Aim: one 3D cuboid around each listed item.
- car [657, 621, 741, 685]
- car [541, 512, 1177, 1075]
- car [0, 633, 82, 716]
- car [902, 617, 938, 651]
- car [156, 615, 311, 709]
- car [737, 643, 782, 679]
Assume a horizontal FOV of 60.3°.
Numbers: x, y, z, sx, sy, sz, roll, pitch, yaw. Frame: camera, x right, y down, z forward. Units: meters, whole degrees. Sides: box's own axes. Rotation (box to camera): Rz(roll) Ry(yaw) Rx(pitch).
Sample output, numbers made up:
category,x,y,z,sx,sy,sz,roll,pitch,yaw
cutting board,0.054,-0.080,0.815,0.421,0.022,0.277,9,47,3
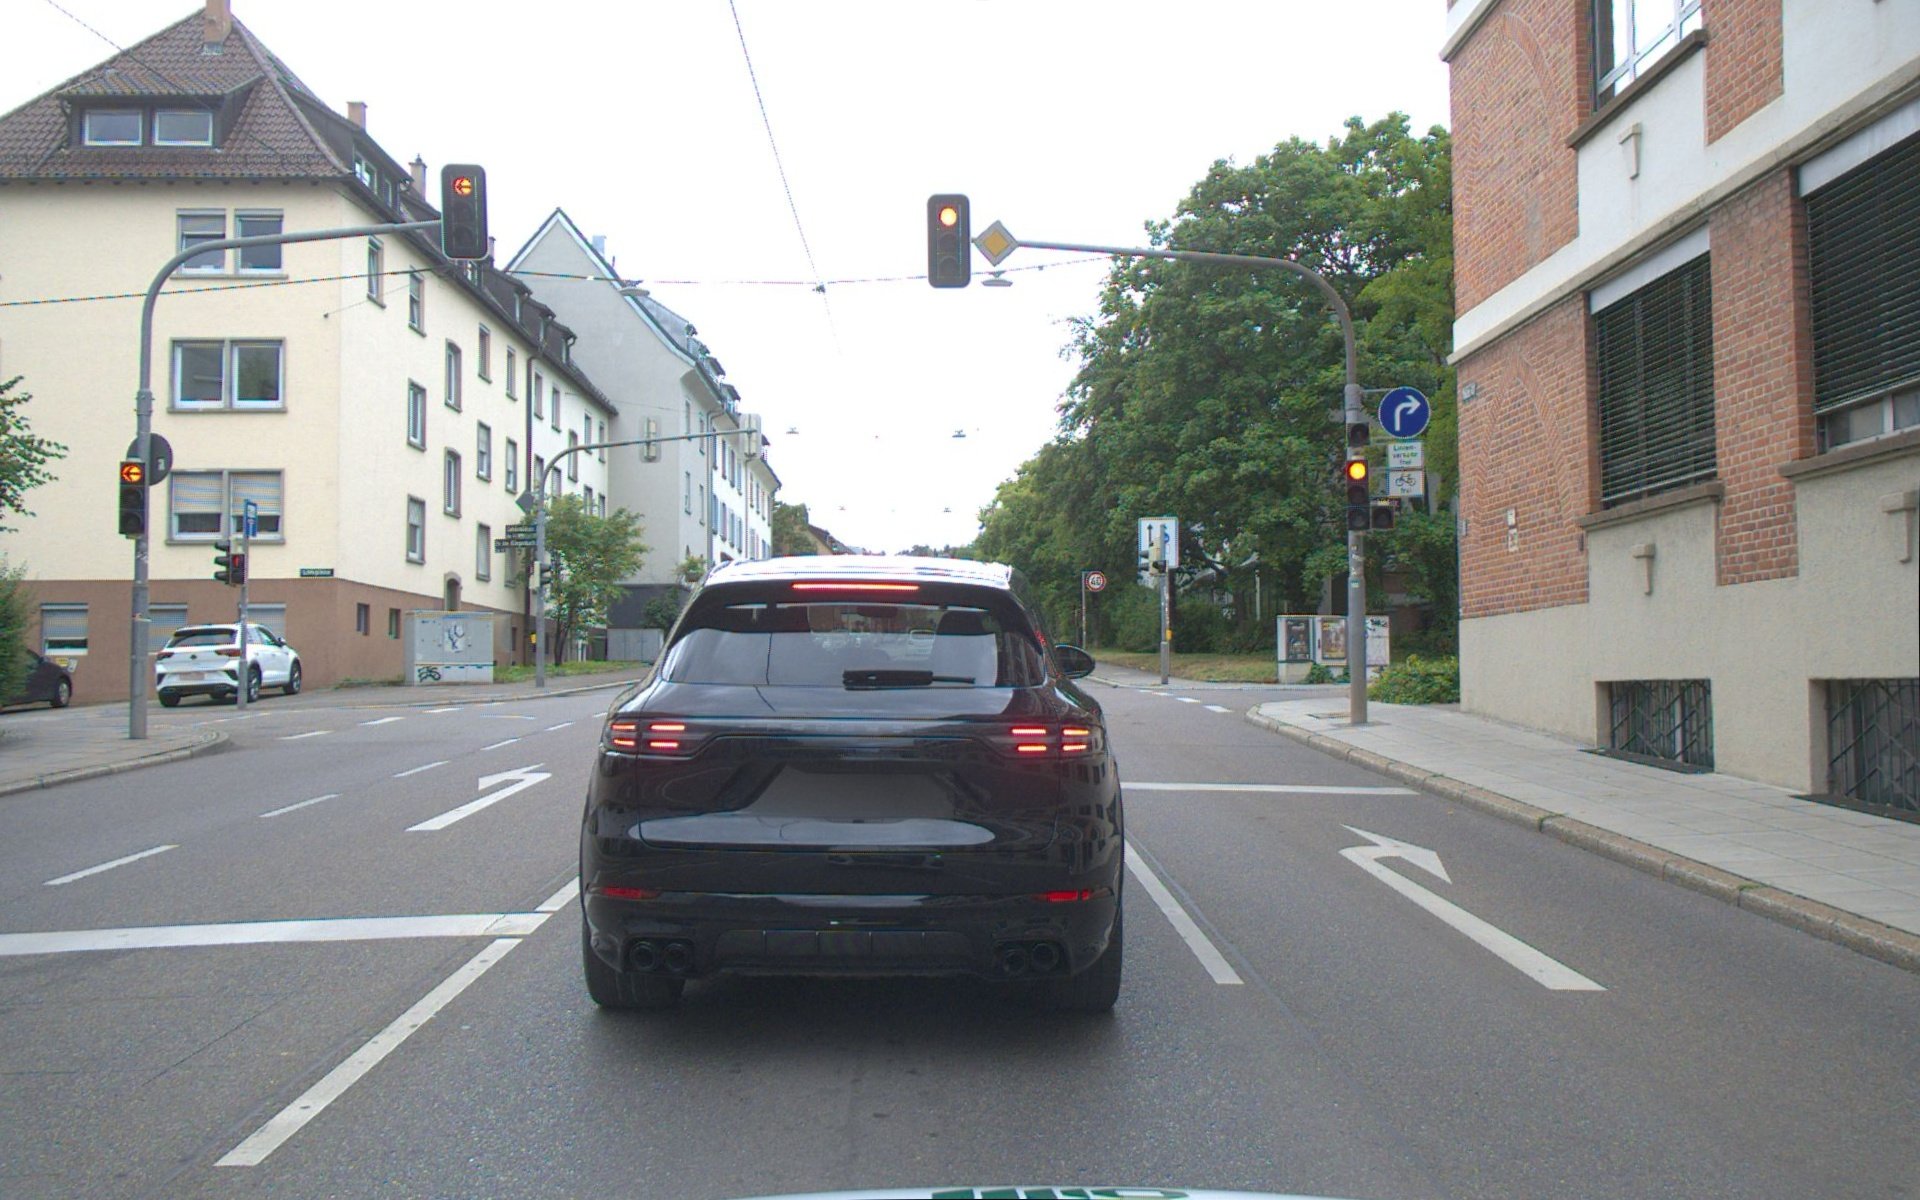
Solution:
category,x,y,z,sx,sy,sz,roll,pitch,yaw
car,-7.093,1.410,45.312,1.630,1.545,3.739,-4,0,0
car,-0.338,0.614,7.159,1.953,1.726,3.999,1,0,-1
car,-19.741,1.544,33.562,1.636,1.573,4.100,-3,0,-1
car,-1.974,1.658,80.835,1.654,1.579,3.887,1,0,-2
car,-14.714,1.208,33.711,1.638,1.691,3.995,-3,0,-5
car,-8.352,2.542,69.203,1.637,1.386,3.997,0,0,-4
